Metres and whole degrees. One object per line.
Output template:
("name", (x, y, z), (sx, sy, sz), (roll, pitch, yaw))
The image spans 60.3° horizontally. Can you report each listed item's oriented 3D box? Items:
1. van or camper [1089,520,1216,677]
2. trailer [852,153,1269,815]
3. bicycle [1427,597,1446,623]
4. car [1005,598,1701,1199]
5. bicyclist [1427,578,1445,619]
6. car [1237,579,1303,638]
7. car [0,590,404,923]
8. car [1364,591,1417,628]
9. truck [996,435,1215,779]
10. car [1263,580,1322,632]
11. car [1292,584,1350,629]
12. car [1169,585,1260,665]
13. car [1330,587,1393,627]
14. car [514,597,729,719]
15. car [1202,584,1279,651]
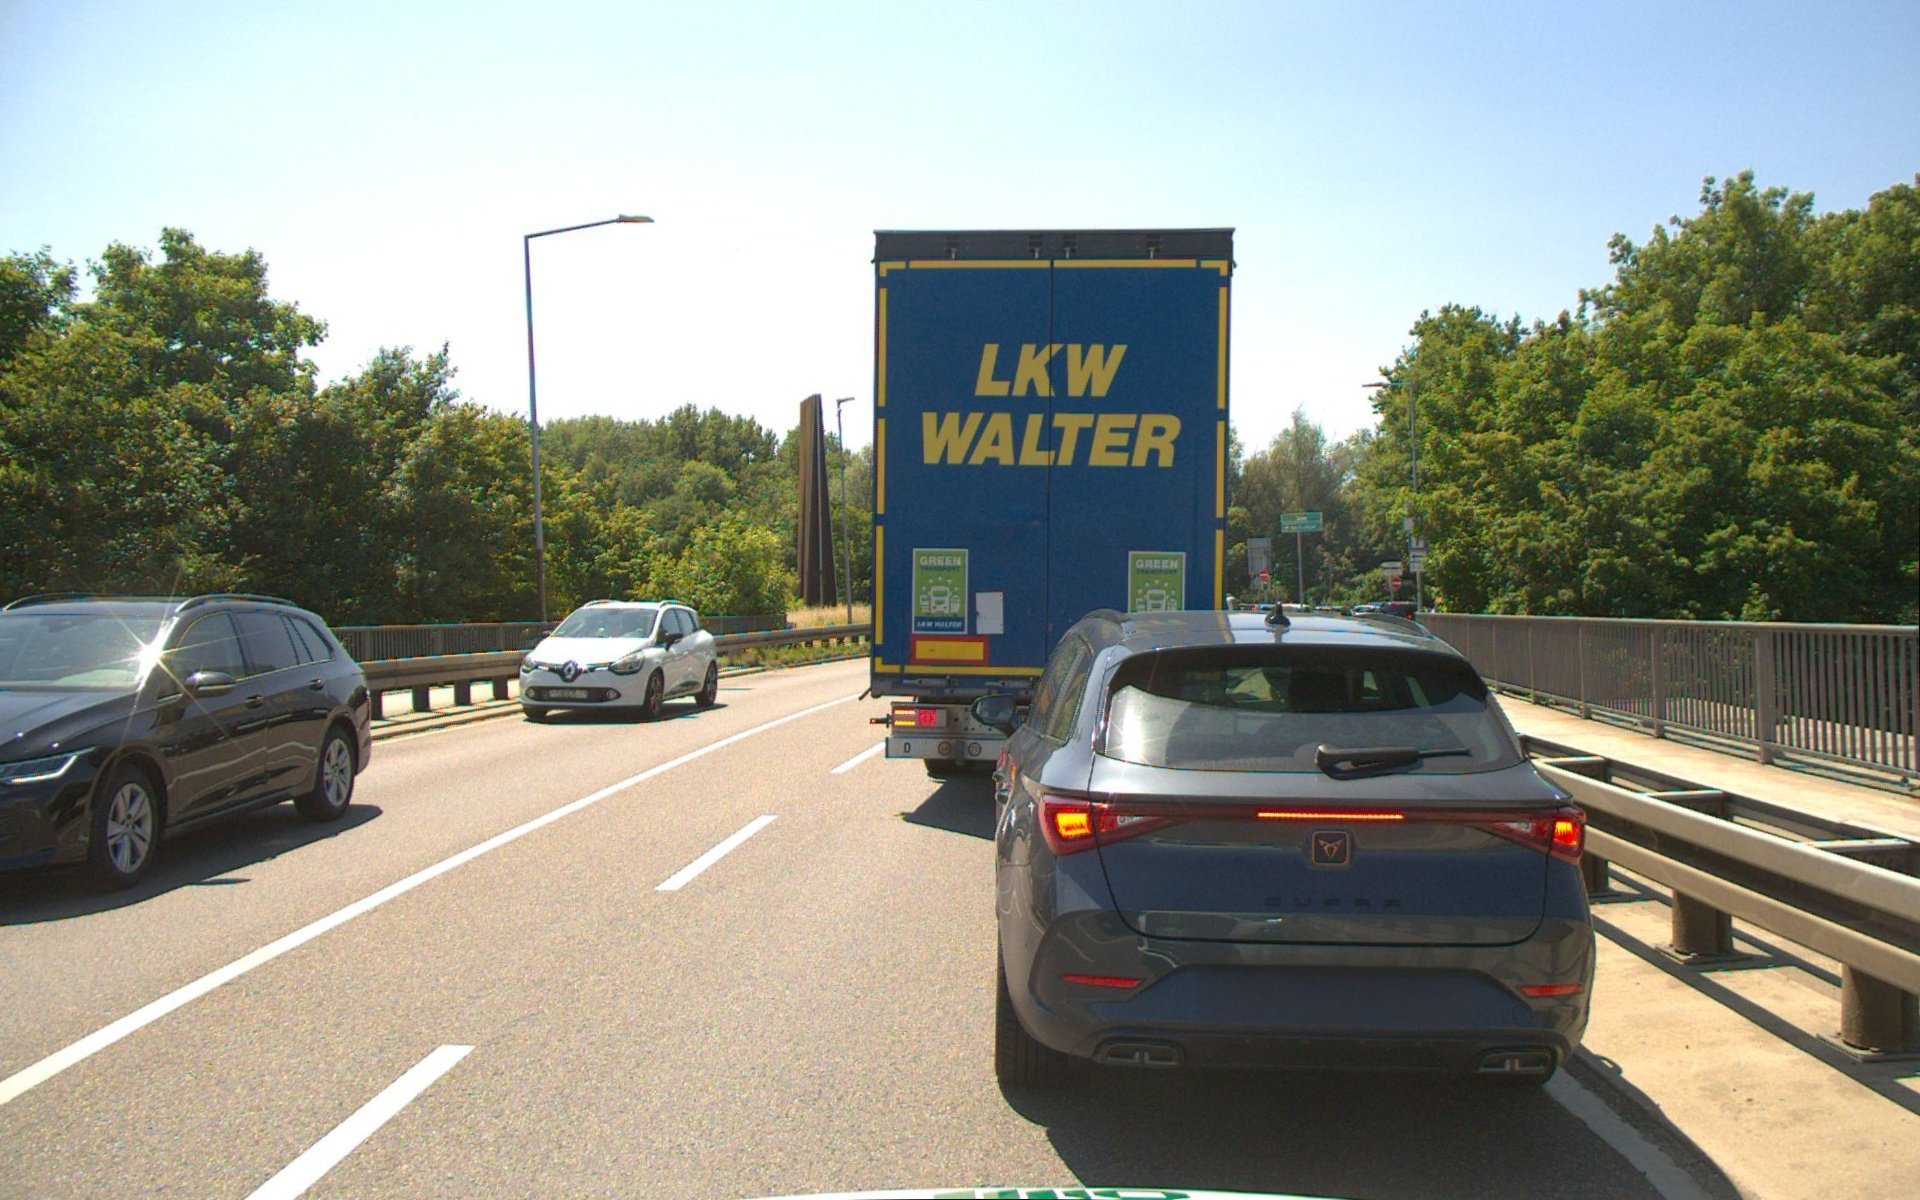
("van or camper", (4.031, -0.045, 33.658), (2.108, 2.865, 6.393), (0, 0, 11))
("trailer", (1.413, -0.828, 17.575), (2.843, 4.496, 12.442), (0, 0, 7))
("bicycle", (20.550, 0.431, 71.304), (0.569, 1.053, 1.486), (-3, 0, 9))
("car", (0.984, 0.735, 5.906), (1.642, 1.481, 3.959), (0, 0, 1))
("bicyclist", (20.528, -0.075, 71.295), (0.565, 1.712, 0.730), (-3, 0, 9))
("car", (10.421, 0.256, 55.389), (1.685, 1.876, 4.002), (0, 0, 18))
("car", (-4.919, 0.695, 9.676), (1.674, 1.494, 4.461), (0, 0, 2))
("car", (21.008, 0.468, 80.658), (1.653, 1.791, 3.995), (0, -1, 28))
("truck", (2.309, 0.068, 25.066), (2.843, 4.496, 6.560), (0, 0, 7))
("car", (12.428, 0.212, 61.671), (1.685, 1.876, 4.002), (0, 0, 18))
("car", (14.936, 0.282, 68.359), (1.651, 1.791, 3.999), (0, -1, 22))
("car", (6.367, 0.574, 41.067), (1.684, 1.876, 4.002), (0, 1, 17))
("car", (18.164, 0.338, 74.671), (1.954, 1.603, 3.996), (2, -1, 26))
("car", (-4.389, 0.704, 22.047), (1.565, 1.474, 4.059), (0, 0, 7))
("car", (8.072, 0.472, 47.411), (1.684, 1.834, 4.002), (0, 0, 17))
